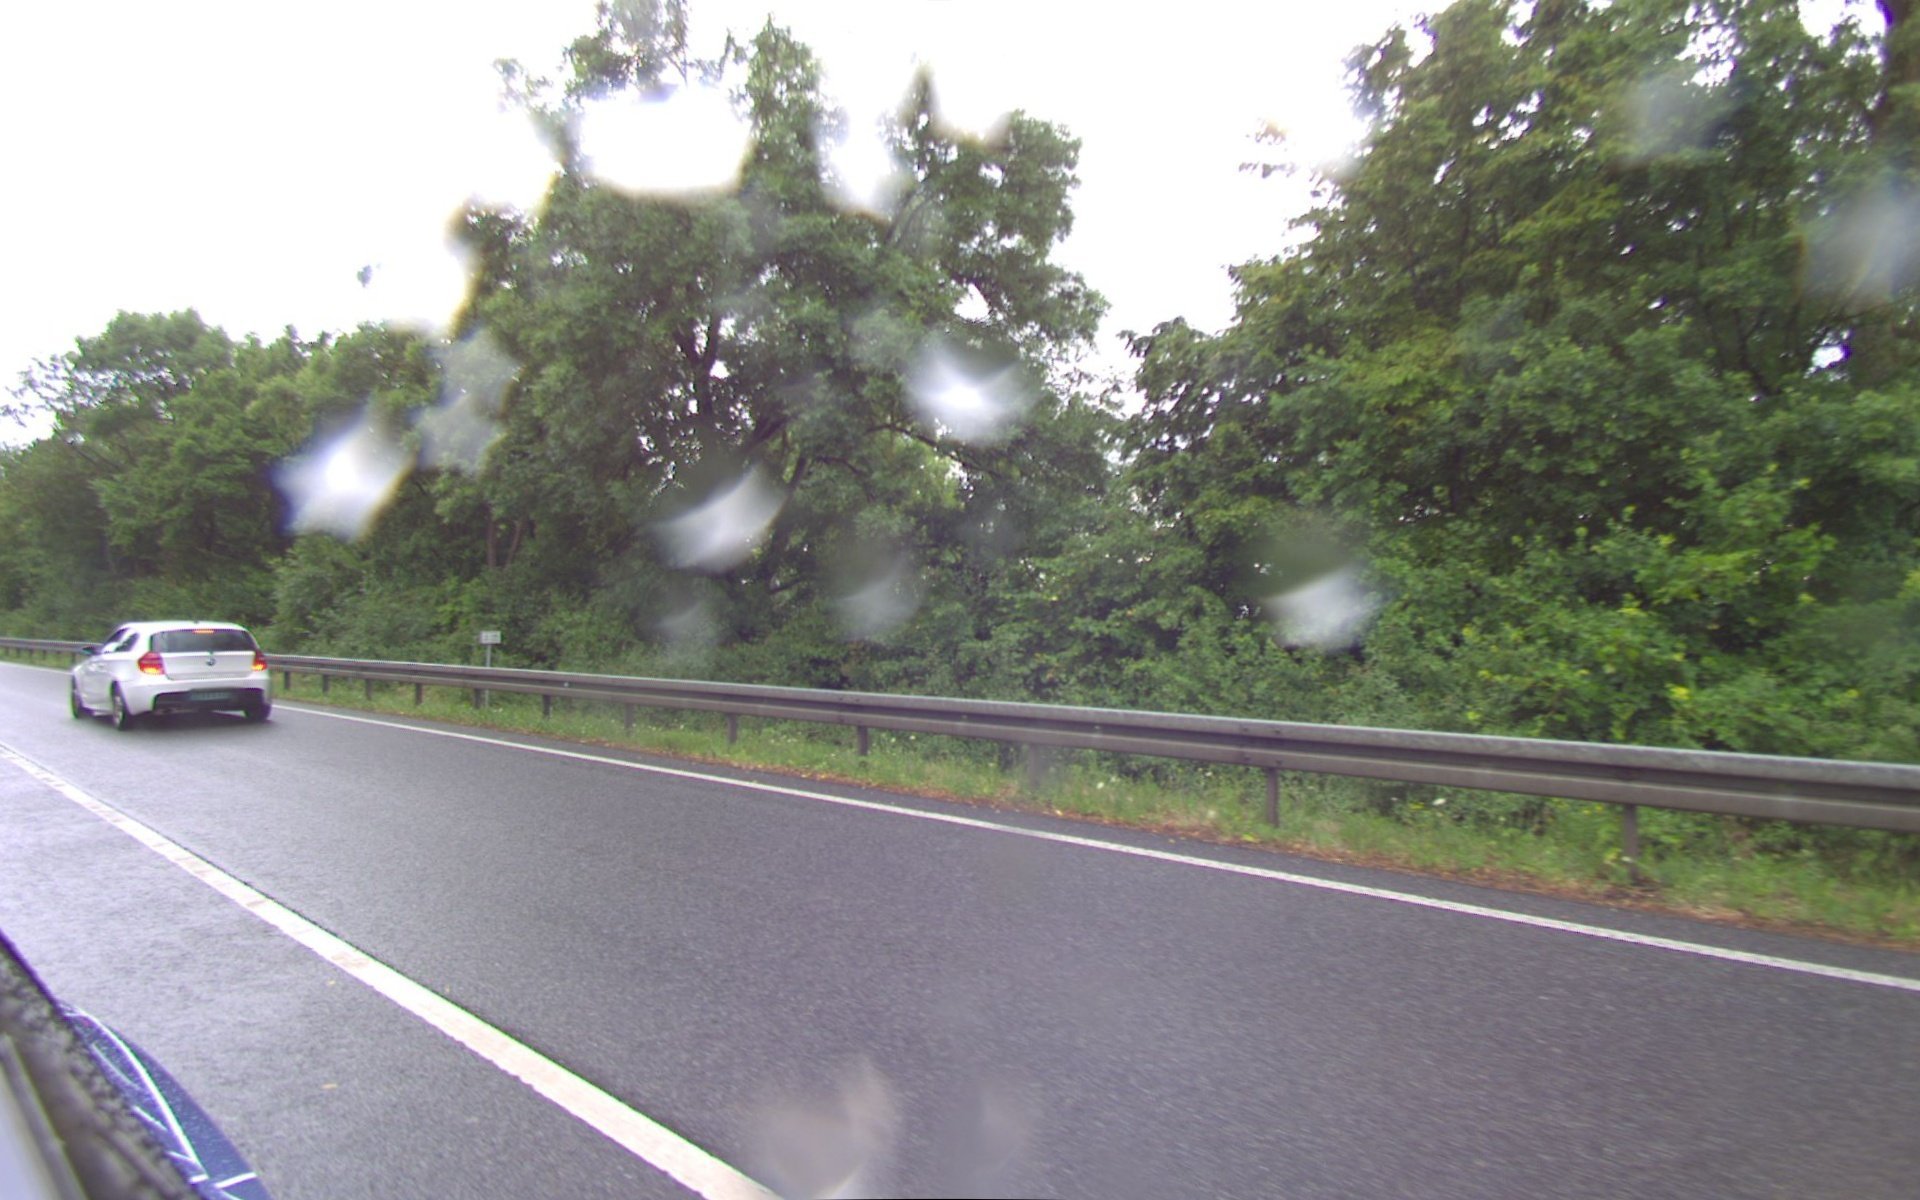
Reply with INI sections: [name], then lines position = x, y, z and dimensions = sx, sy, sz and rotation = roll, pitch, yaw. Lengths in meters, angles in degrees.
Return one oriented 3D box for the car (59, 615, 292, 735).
[car]
position = -11.263, 0.965, 14.442
dimensions = 4.043, 1.465, 1.796
rotation = -1, -1, 40
